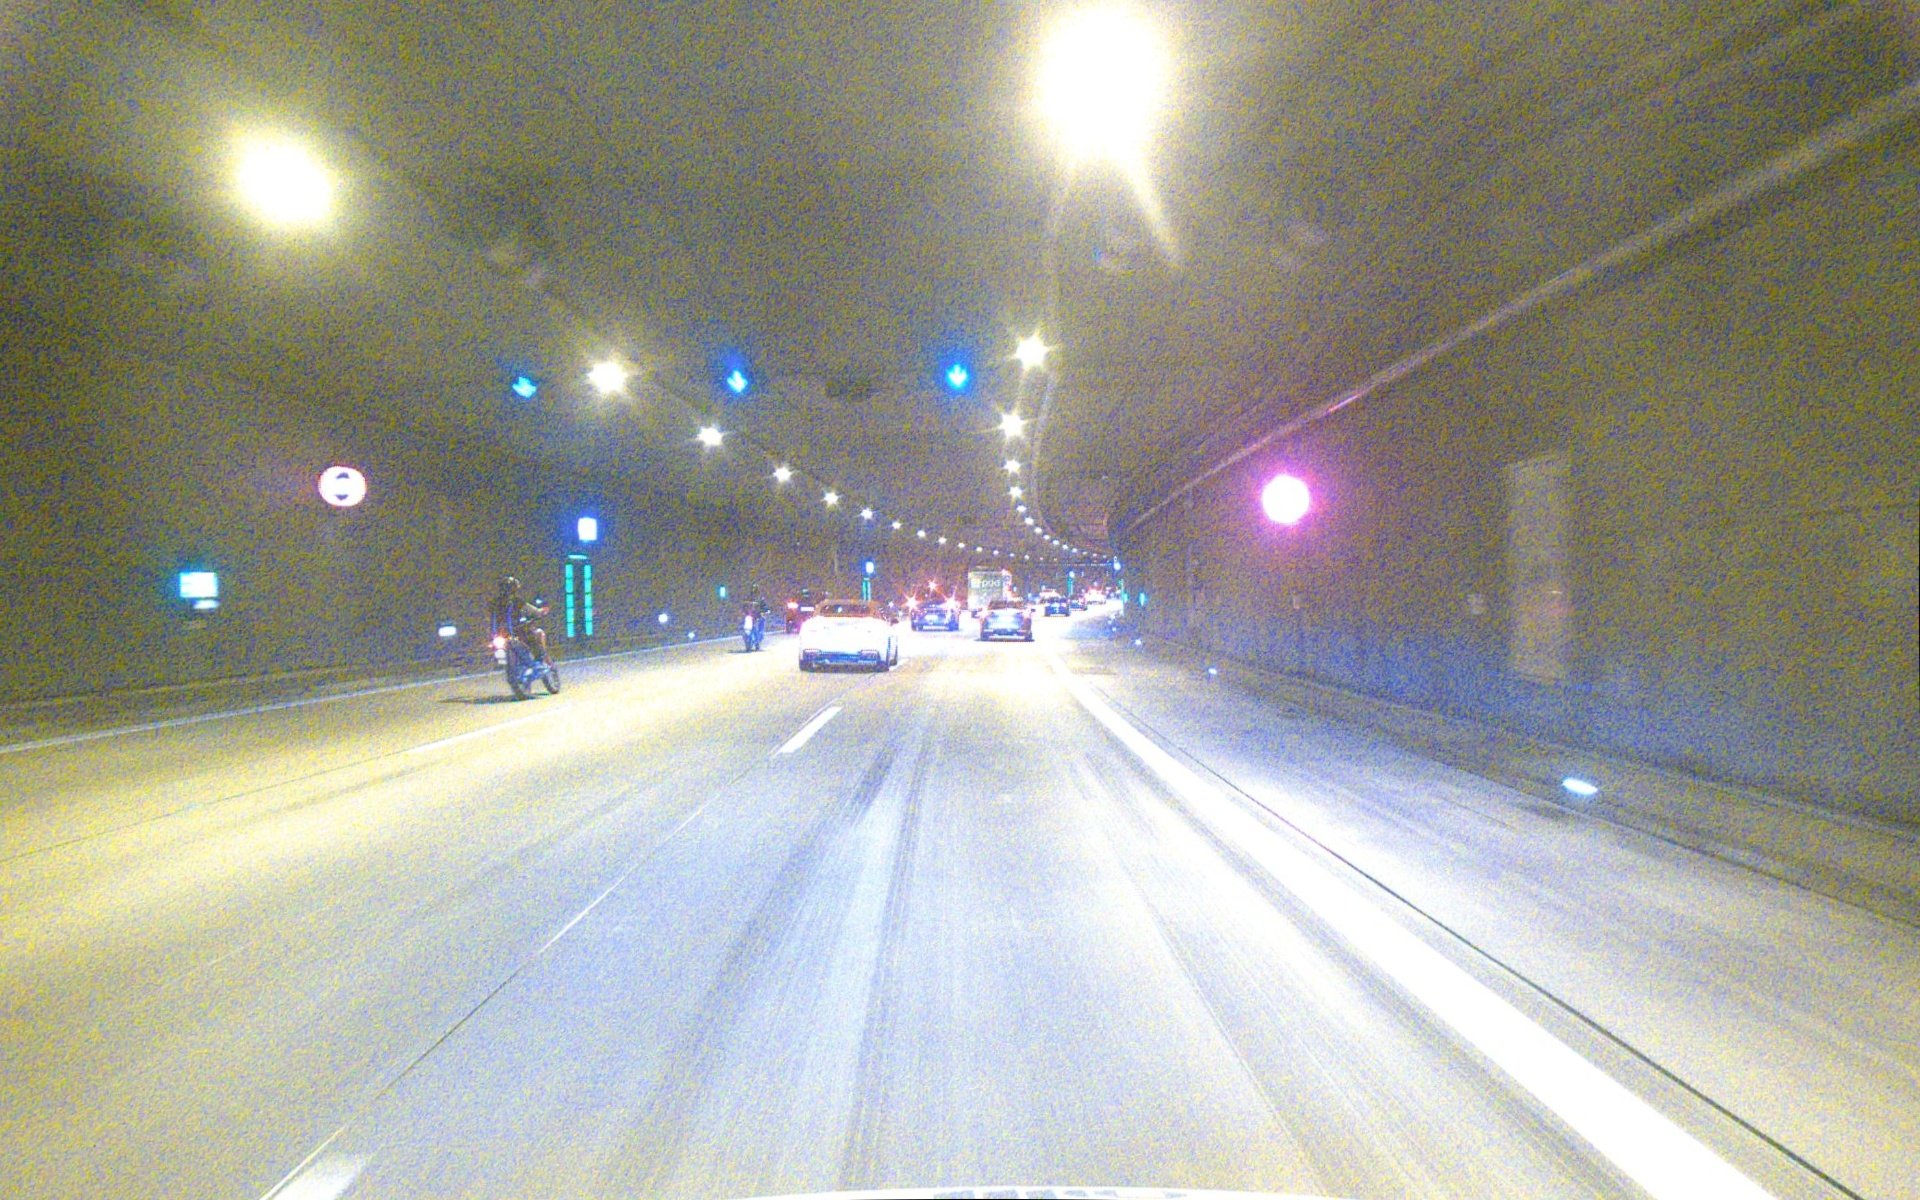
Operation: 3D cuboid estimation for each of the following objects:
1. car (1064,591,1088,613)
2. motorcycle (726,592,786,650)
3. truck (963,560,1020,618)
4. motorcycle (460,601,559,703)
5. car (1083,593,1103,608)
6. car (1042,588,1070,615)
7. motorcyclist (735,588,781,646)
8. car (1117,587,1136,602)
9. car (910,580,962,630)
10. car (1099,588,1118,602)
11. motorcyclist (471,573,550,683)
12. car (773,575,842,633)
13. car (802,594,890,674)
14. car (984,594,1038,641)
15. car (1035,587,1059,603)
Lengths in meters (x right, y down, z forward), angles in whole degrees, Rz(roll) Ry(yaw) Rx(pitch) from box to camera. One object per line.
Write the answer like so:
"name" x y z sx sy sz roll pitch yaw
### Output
"car" 10.223 0.190 145.794 1.908 1.803 4.003 1 0 7
"motorcycle" -5.360 0.540 43.686 0.906 1.459 2.965 1 0 6
"truck" 2.179 -0.728 110.484 2.974 3.737 7.398 1 0 7
"motorcycle" -6.204 0.679 22.909 0.669 1.319 2.399 1 0 1
"car" 14.506 0.067 180.214 1.889 1.671 4.003 1 0 9
"car" 6.830 0.094 117.707 1.818 1.887 4.003 1 0 6
"motorcyclist" -5.326 0.432 43.727 0.789 1.473 1.866 1 0 6
"car" 20.079 -0.654 199.491 1.951 1.660 4.003 1 0 10
"car" -0.982 0.179 70.816 1.869 1.978 3.874 0 2 4
"car" 18.829 -0.585 209.651 1.889 1.671 4.003 1 0 11
"motorcyclist" -6.205 0.385 22.893 0.761 1.478 1.069 1 0 1
"car" -5.592 0.129 61.045 1.952 2.049 4.002 1 0 3
"car" -2.295 0.642 34.296 1.668 1.443 5.058 0 1 -2
"car" 1.794 0.638 57.323 1.706 1.490 3.872 2 -2 3
"car" 9.585 -0.587 182.782 1.889 1.671 4.003 1 0 14
